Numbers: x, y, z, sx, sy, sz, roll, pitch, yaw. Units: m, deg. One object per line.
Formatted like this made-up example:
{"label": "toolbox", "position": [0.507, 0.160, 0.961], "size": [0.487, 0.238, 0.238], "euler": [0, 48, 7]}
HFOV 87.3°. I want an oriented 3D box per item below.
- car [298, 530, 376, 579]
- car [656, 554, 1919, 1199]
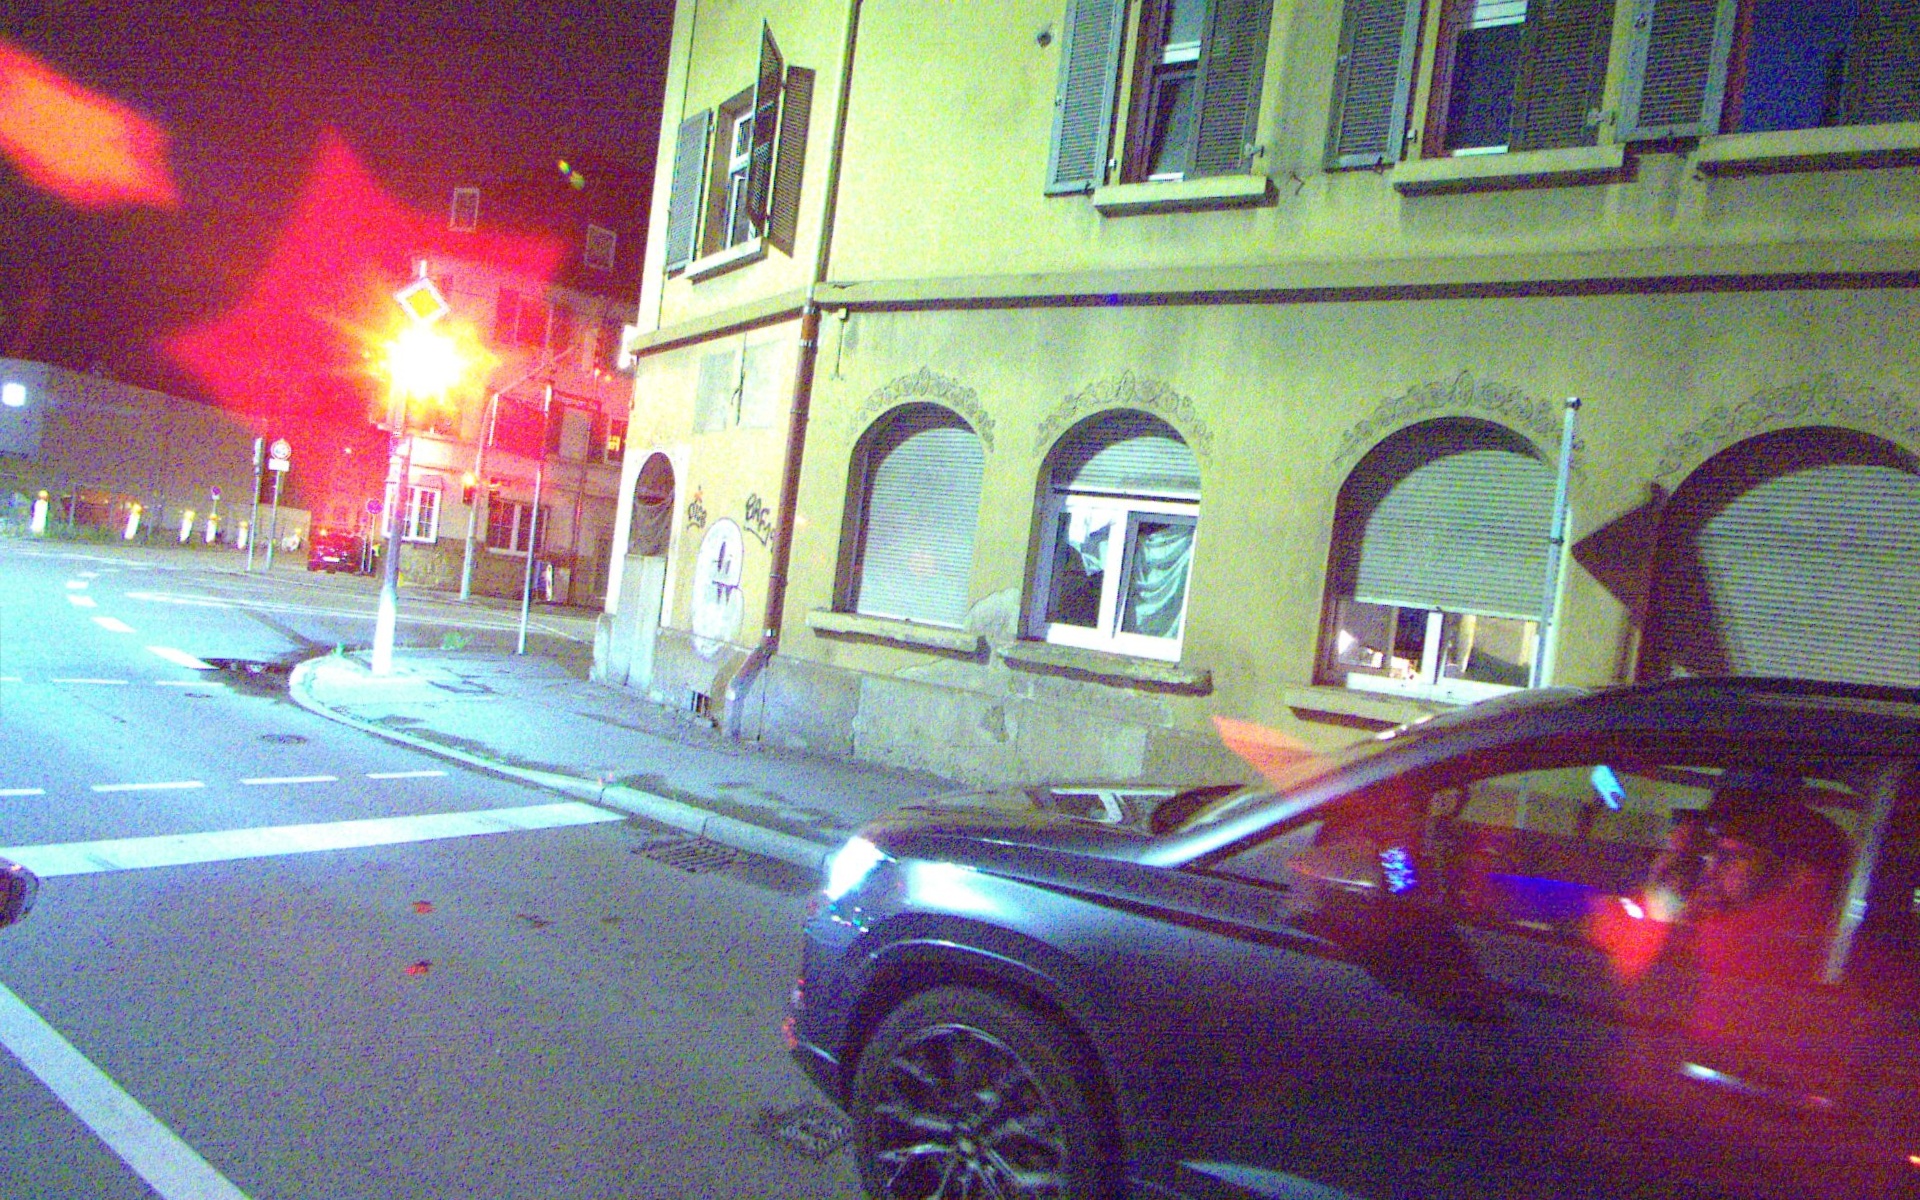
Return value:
{"label": "car", "position": [-24.543, -1.753, 39.764], "size": [1.708, 1.631, 3.610], "euler": [7, -1, -19]}
{"label": "car", "position": [1.506, 0.940, 2.346], "size": [4.157, 1.629, 1.674], "euler": [6, -1, 29]}
